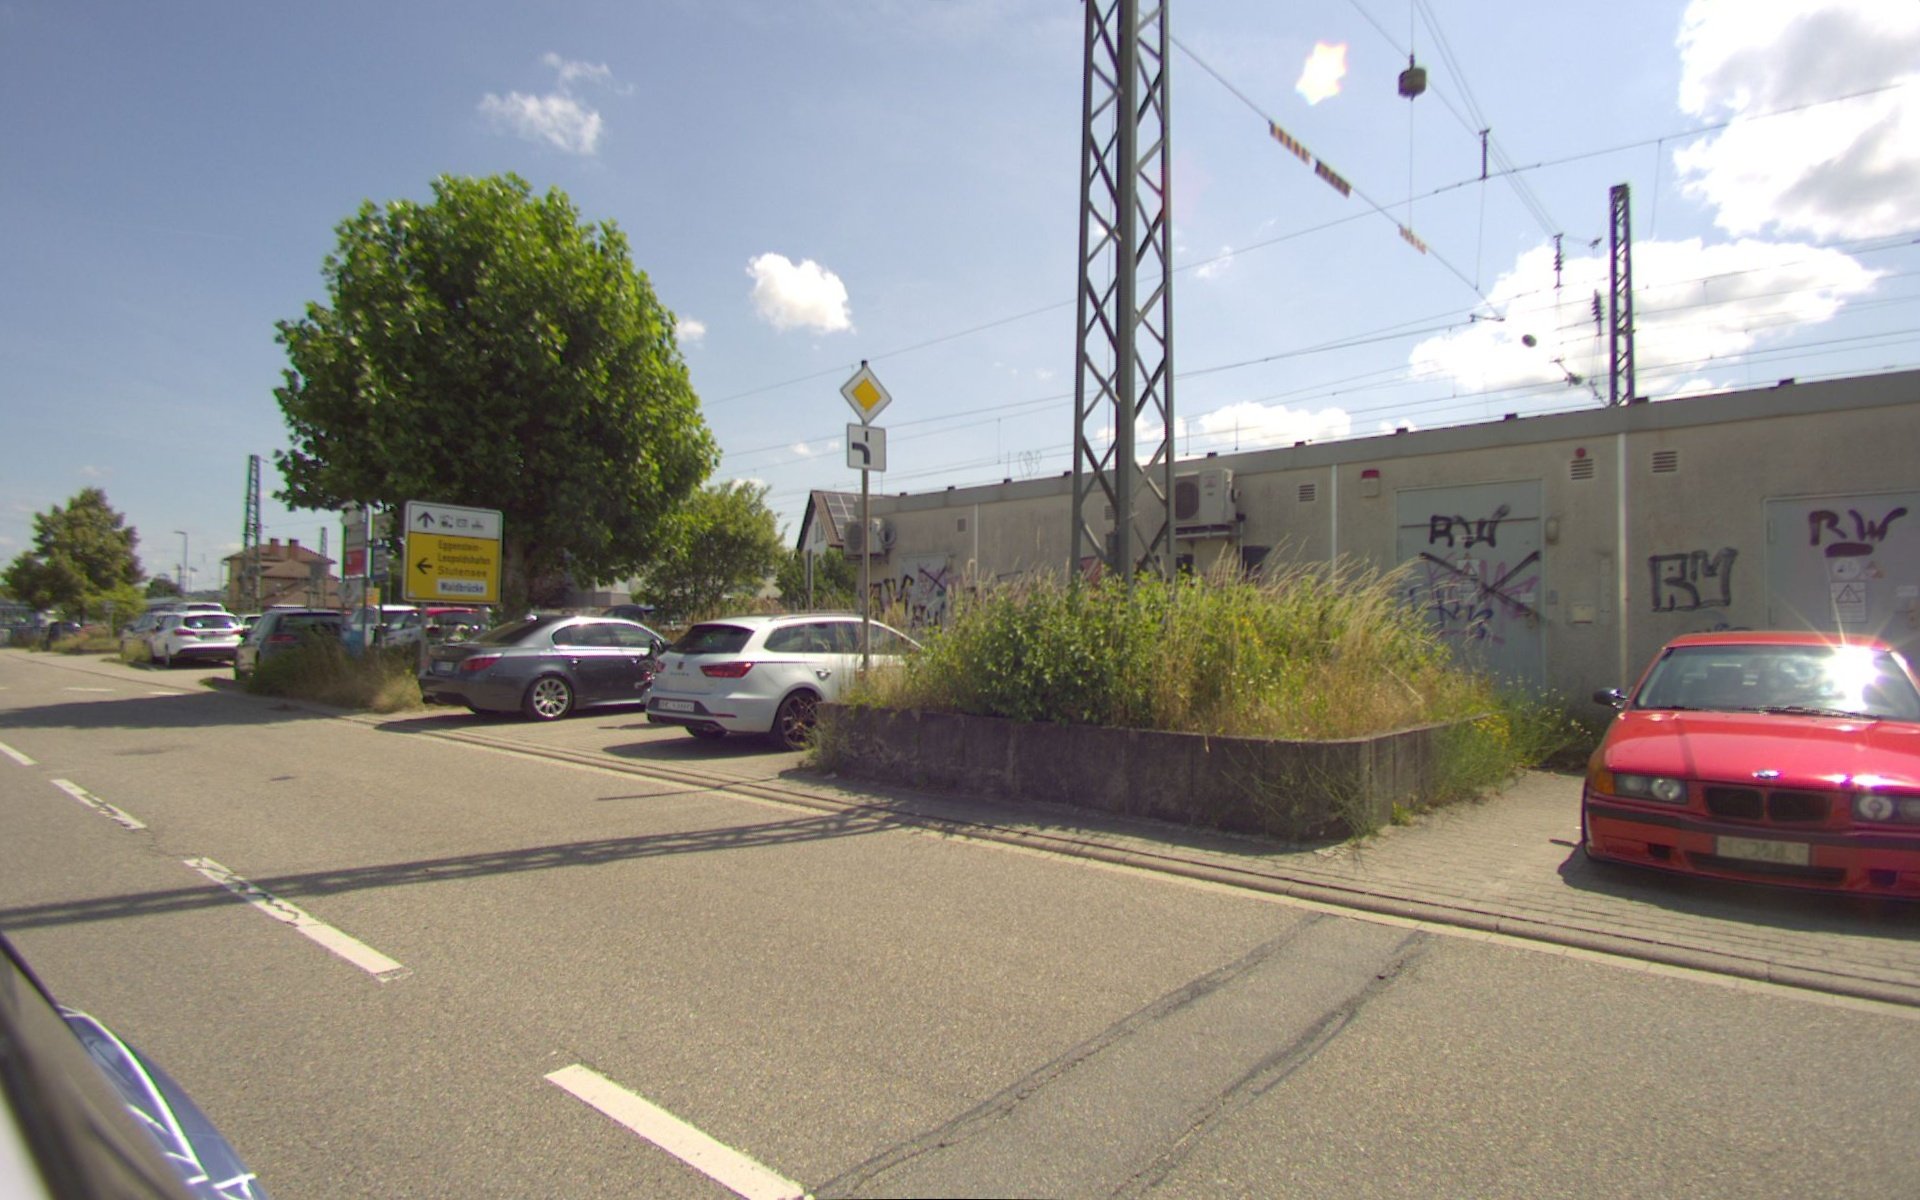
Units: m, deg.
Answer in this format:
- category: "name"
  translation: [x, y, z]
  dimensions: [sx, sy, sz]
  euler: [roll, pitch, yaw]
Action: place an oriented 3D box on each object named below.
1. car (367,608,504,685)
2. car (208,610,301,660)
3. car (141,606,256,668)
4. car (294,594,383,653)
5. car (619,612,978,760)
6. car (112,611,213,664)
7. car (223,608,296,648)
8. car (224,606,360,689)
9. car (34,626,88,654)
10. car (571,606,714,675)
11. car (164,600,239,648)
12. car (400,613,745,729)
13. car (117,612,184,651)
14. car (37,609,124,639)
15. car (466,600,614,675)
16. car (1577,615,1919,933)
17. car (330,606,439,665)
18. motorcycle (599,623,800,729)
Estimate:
- category: "car"
  translation: [-11.594, 0.997, 22.283]
  dimensions: [1.769, 1.548, 3.582]
  euler: [3, -3, -43]
- category: "car"
  translation: [-23.744, 1.162, 34.004]
  dimensions: [4.264, 1.576, 1.780]
  euler: [-1, -3, 45]
- category: "car"
  translation: [-20.942, 1.002, 27.766]
  dimensions: [4.263, 1.576, 1.783]
  euler: [-1, -3, 43]
- category: "car"
  translation: [-22.454, 0.862, 36.501]
  dimensions: [1.824, 2.029, 4.002]
  euler: [3, -3, -45]
- category: "car"
  translation: [-1.707, 0.851, 11.827]
  dimensions: [1.784, 1.412, 4.034]
  euler: [-1, -1, 38]
- category: "car"
  translation: [-25.252, 1.163, 32.001]
  dimensions: [3.958, 1.556, 1.771]
  euler: [-1, -3, 41]
- category: "car"
  translation: [-30.454, 1.220, 43.948]
  dimensions: [1.925, 1.621, 4.275]
  euler: [3, -3, -44]
- category: "car"
  translation: [-13.803, 0.941, 20.813]
  dimensions: [1.665, 1.542, 4.067]
  euler: [3, -3, -43]
- category: "car"
  translation: [-45.324, 2.007, 50.990]
  dimensions: [3.999, 1.360, 1.586]
  euler: [-1, -3, 42]
- category: "car"
  translation: [-8.391, 1.041, 26.589]
  dimensions: [1.970, 1.650, 4.090]
  euler: [3, -3, -44]
- category: "car"
  translation: [-30.666, 0.988, 40.884]
  dimensions: [1.925, 1.847, 3.838]
  euler: [3, -3, -44]
- category: "car"
  translation: [-5.430, 0.957, 14.718]
  dimensions: [1.785, 1.421, 4.384]
  euler: [-1, -3, 38]
- category: "car"
  translation: [-36.532, 1.426, 45.656]
  dimensions: [3.999, 1.698, 1.709]
  euler: [-1, -3, 42]
- category: "car"
  translation: [-50.082, 1.387, 57.679]
  dimensions: [1.646, 1.604, 3.397]
  euler: [2, -1, 35]
- category: "car"
  translation: [-10.183, 0.893, 24.401]
  dimensions: [1.970, 1.650, 4.091]
  euler: [3, -3, -43]
- category: "car"
  translation: [5.164, 0.800, 6.228]
  dimensions: [1.673, 1.379, 4.031]
  euler: [-3, -2, 41]
- category: "car"
  translation: [-17.735, 1.048, 31.087]
  dimensions: [1.970, 1.670, 4.267]
  euler: [1, -1, -43]
- category: "motorcycle"
  translation: [-3.419, 0.976, 13.604]
  dimensions: [0.717, 1.291, 2.696]
  euler: [-1, -2, 39]
